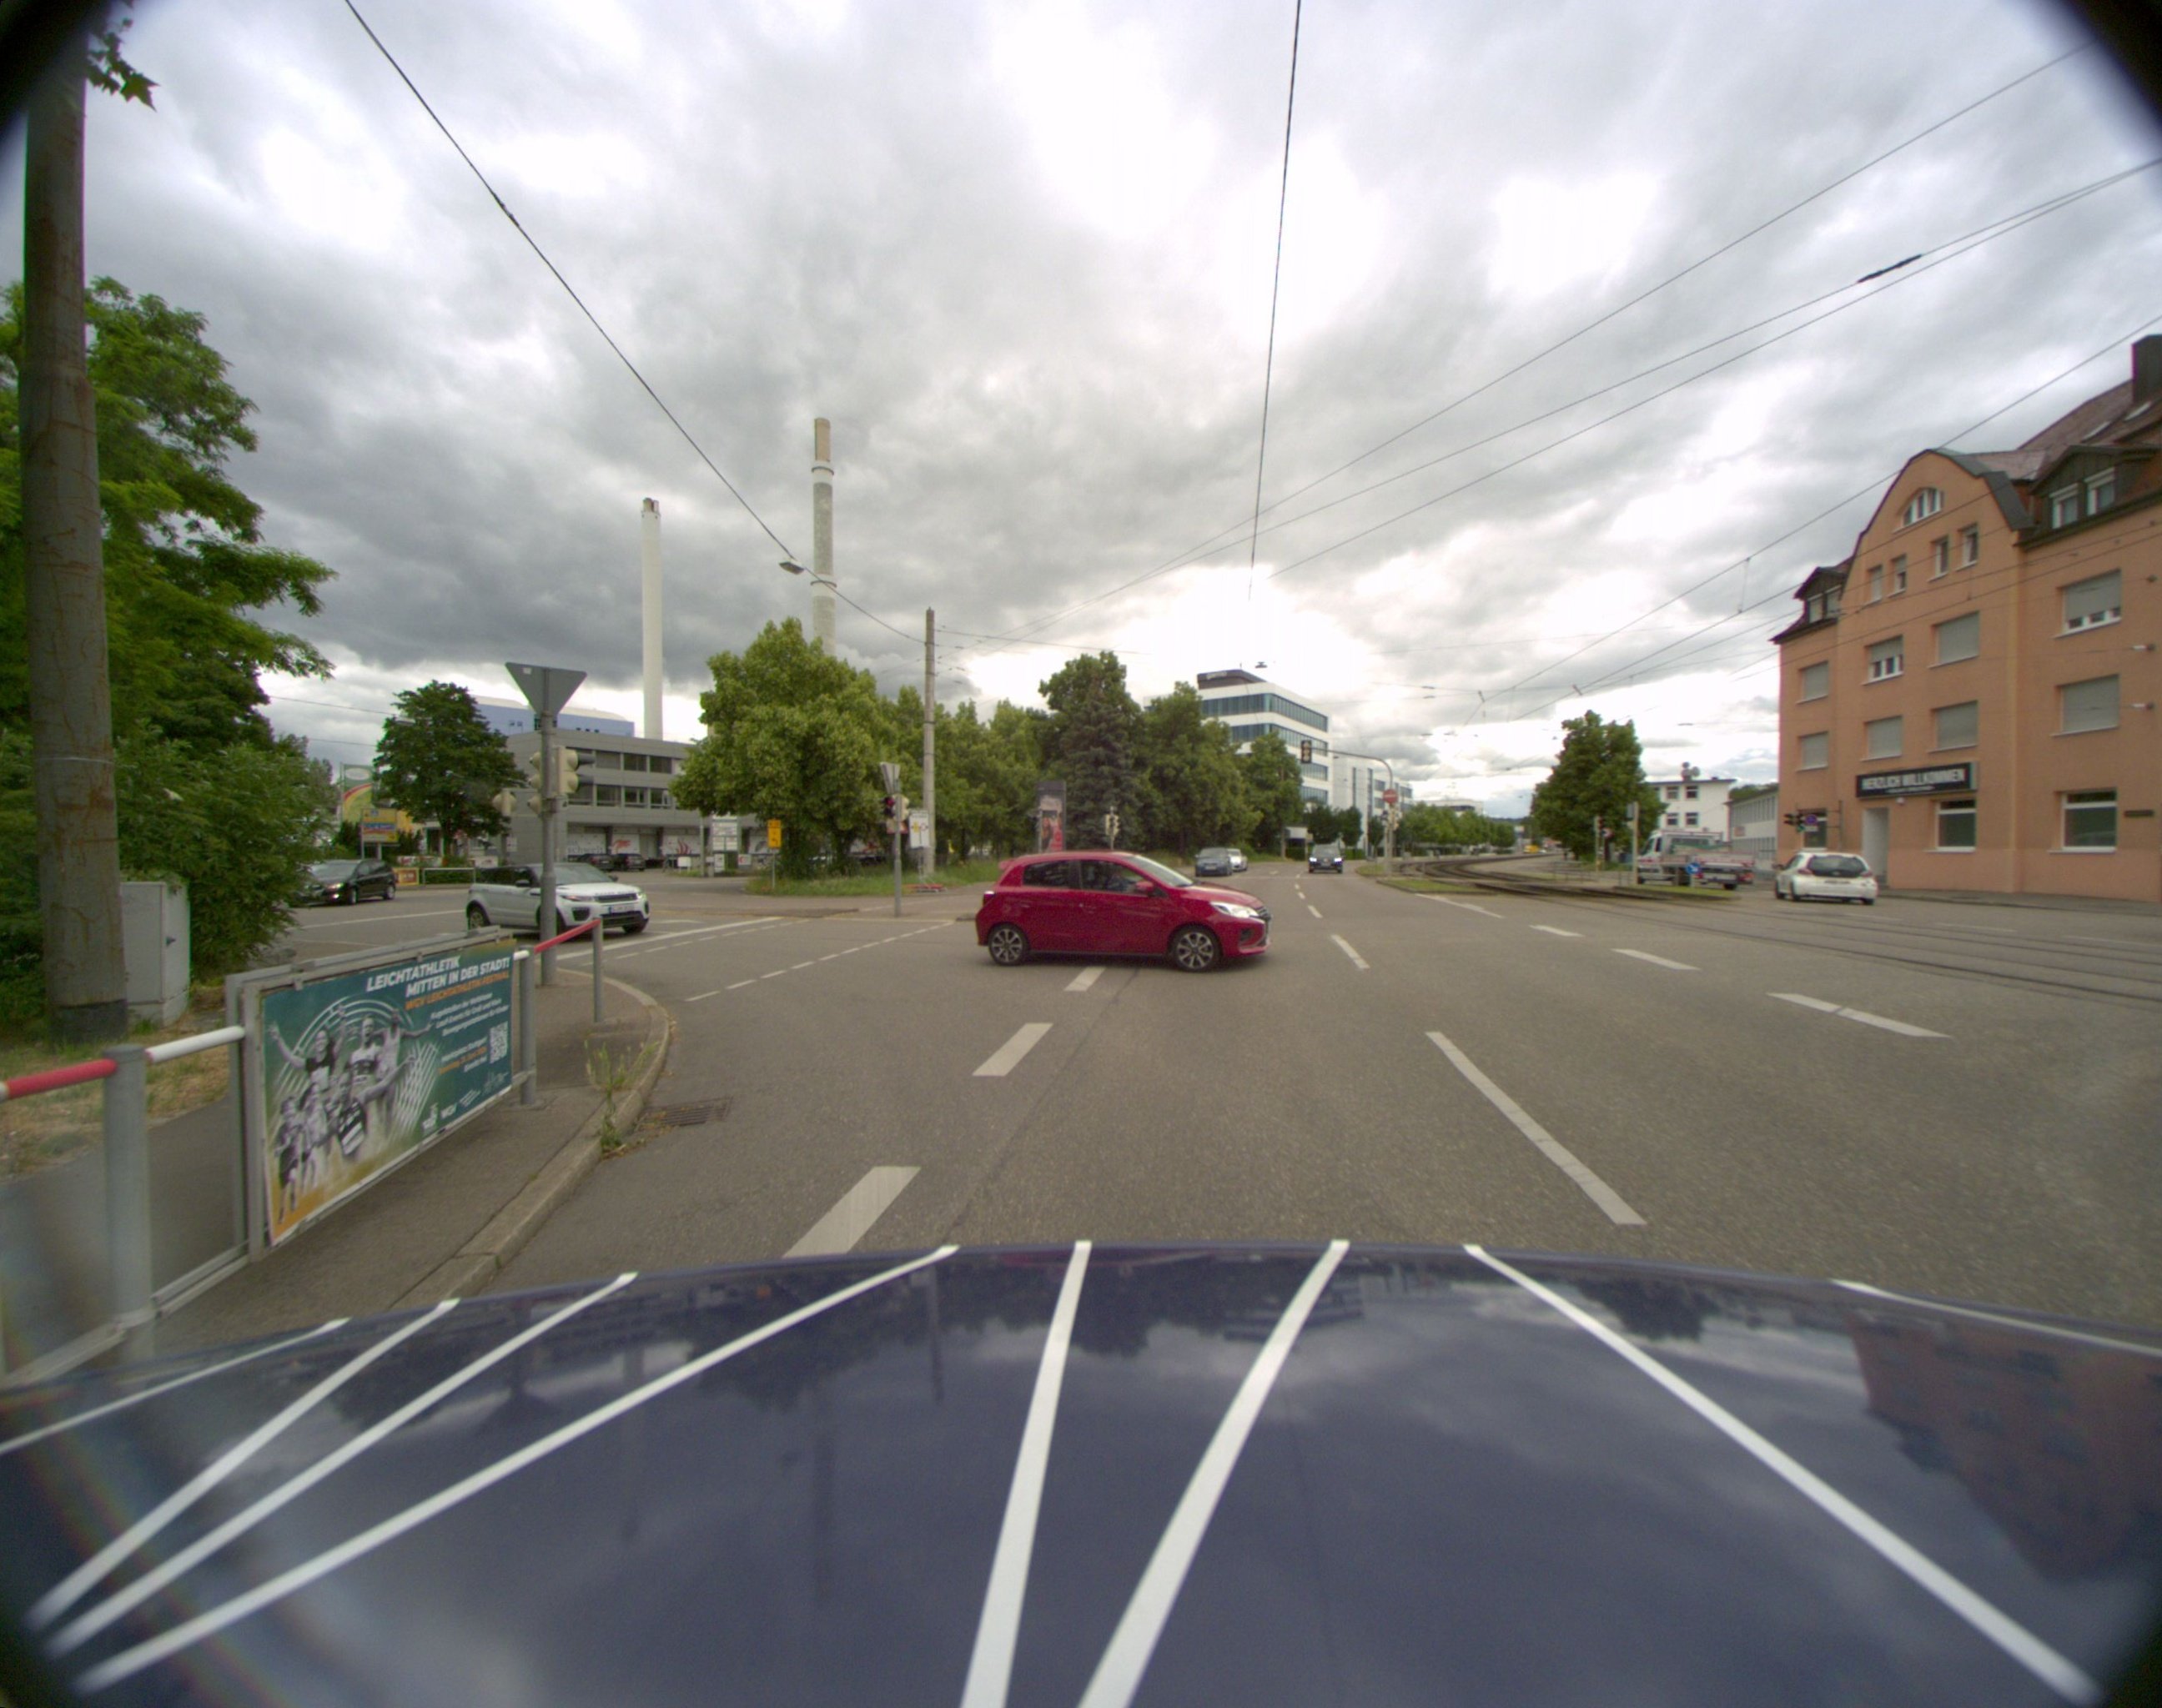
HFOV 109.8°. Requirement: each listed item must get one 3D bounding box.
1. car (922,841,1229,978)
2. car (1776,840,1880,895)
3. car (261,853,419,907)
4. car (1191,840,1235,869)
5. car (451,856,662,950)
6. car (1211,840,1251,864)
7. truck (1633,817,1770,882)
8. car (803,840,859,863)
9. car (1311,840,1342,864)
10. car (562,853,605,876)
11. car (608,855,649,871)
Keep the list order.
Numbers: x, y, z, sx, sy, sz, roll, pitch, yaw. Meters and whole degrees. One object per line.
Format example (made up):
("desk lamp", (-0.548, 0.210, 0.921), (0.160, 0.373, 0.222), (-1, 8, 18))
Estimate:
("car", (-0.058, 0.612, 10.249), (3.731, 1.521, 1.770), (1, 3, 23))
("car", (21.292, 0.438, 21.783), (1.594, 1.411, 3.382), (-3, -4, 36))
("car", (-27.306, 0.890, 28.238), (1.832, 1.762, 4.227), (0, 1, -4))
("car", (6.933, 0.002, 39.561), (1.746, 1.384, 3.707), (-1, 1, 18))
("car", (-11.253, 0.947, 16.309), (4.102, 1.561, 1.920), (2, 5, 27))
("car", (9.283, -0.139, 46.785), (1.745, 1.418, 4.171), (-1, 1, 20))
("truck", (25.387, -0.235, 31.405), (2.316, 2.408, 5.660), (2, 2, 17))
("car", (-20.936, -0.245, 63.795), (1.996, 1.654, 4.767), (1, 4, 17))
("car", (13.982, -0.127, 43.446), (1.625, 1.324, 3.178), (0, 1, 17))
("car", (-43.082, 0.881, 65.797), (3.561, 1.670, 1.780), (2, 5, 35))
("car", (-41.079, 0.763, 68.950), (3.561, 1.172, 1.780), (2, 5, 35))
